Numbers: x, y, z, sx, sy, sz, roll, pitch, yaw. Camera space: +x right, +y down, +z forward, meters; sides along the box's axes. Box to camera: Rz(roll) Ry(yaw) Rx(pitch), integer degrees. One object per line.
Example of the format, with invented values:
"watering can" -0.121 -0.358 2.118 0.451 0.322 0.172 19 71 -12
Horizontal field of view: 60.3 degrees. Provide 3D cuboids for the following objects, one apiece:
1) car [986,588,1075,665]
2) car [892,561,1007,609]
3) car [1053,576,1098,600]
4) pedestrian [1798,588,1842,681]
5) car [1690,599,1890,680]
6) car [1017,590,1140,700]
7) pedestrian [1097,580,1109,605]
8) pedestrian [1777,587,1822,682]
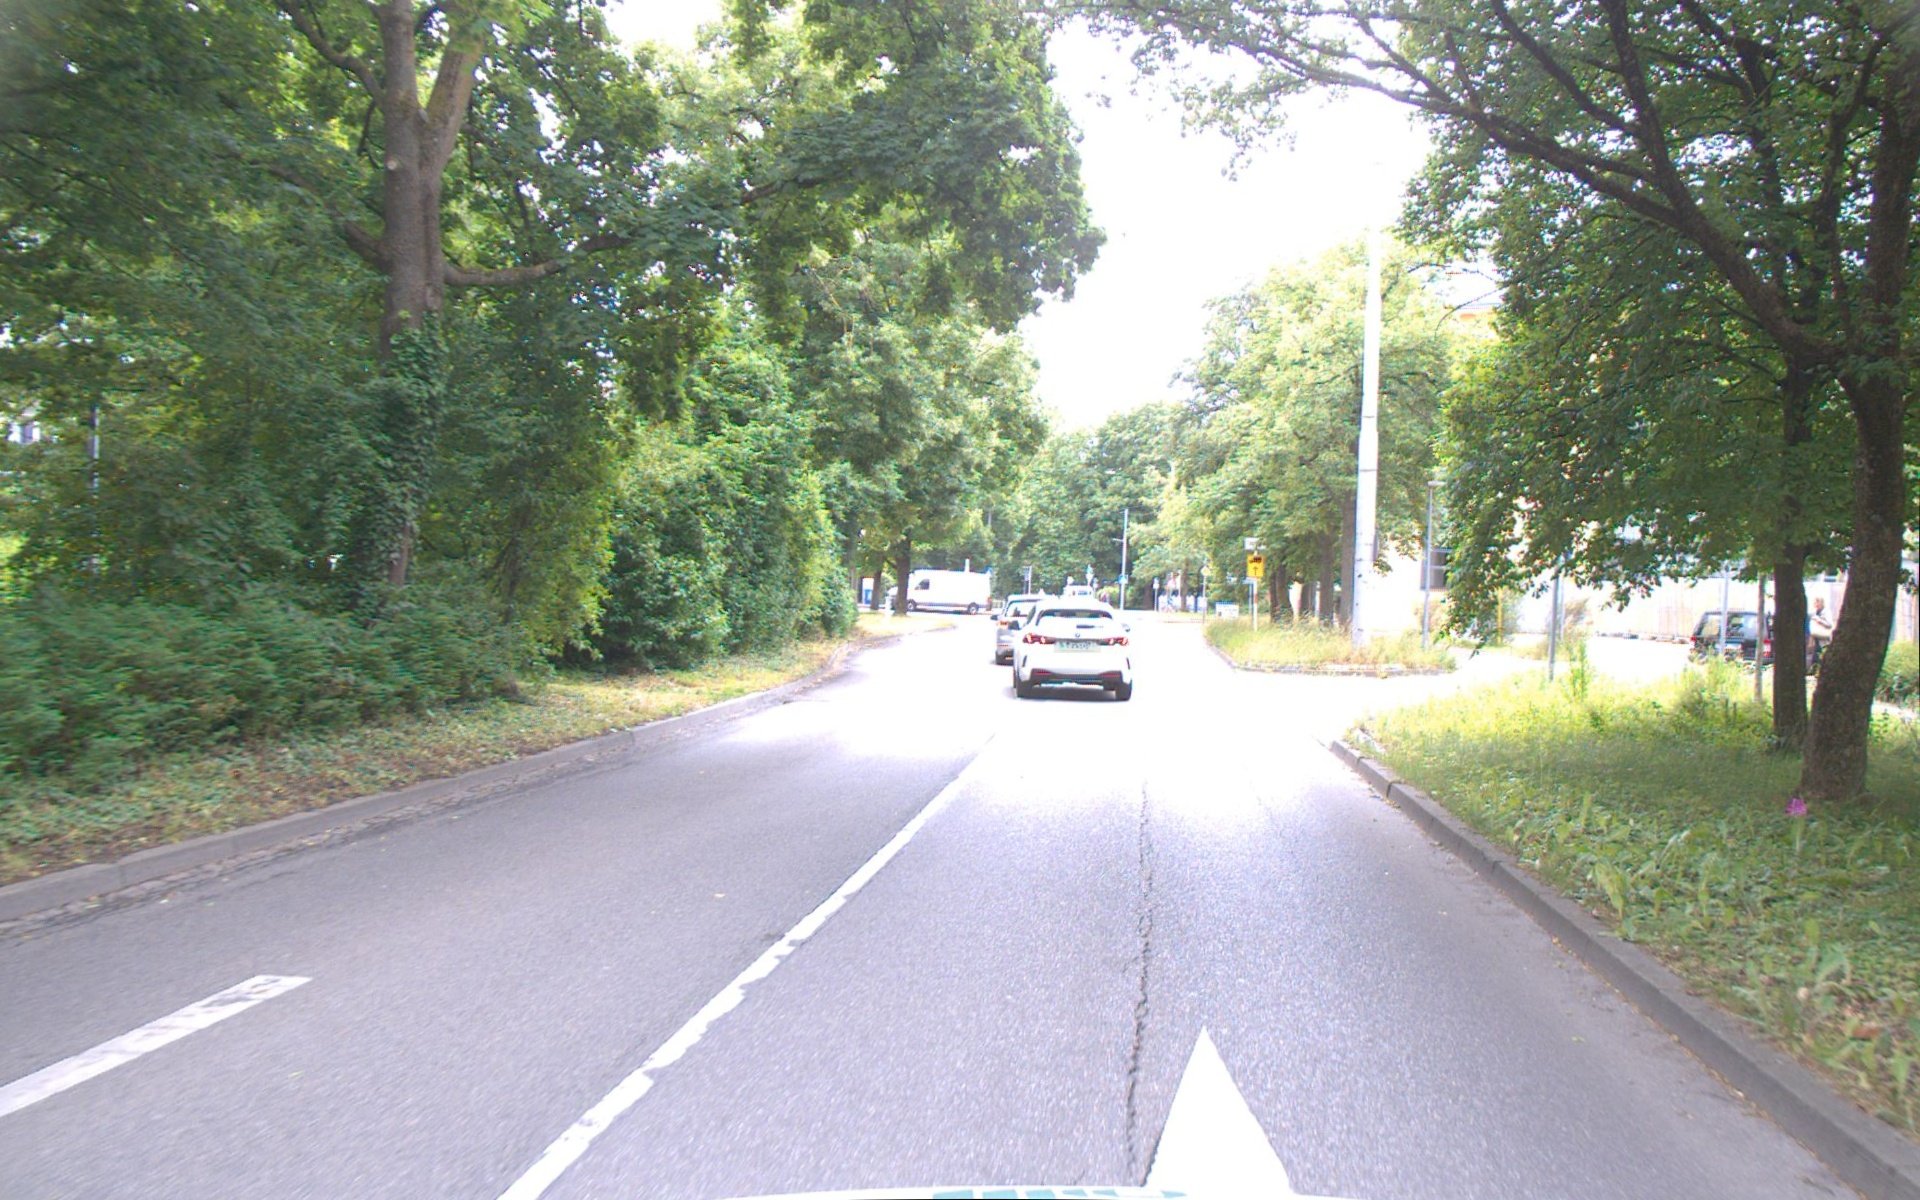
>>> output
"car" 1.698 0.568 38.649 1.882 1.601 4.003 2 1 4
"car" -0.606 -0.912 102.296 6.885 2.565 2.065 3 2 -31
"car" 13.433 -1.401 192.661 5.345 2.336 2.104 3 2 -45
"pedestrian" 16.850 0.667 32.406 0.490 1.755 0.533 -2 4 -23
"car" 17.120 0.769 34.037 4.692 1.543 1.846 0 0 -38
"car" 1.906 0.655 26.463 1.758 1.544 4.209 2 0 4
"pedestrian" 11.227 -0.594 129.919 0.904 1.904 1.020 -1 3 3
"pedestrian" 16.211 0.661 31.959 0.467 1.784 0.580 -2 4 -23
